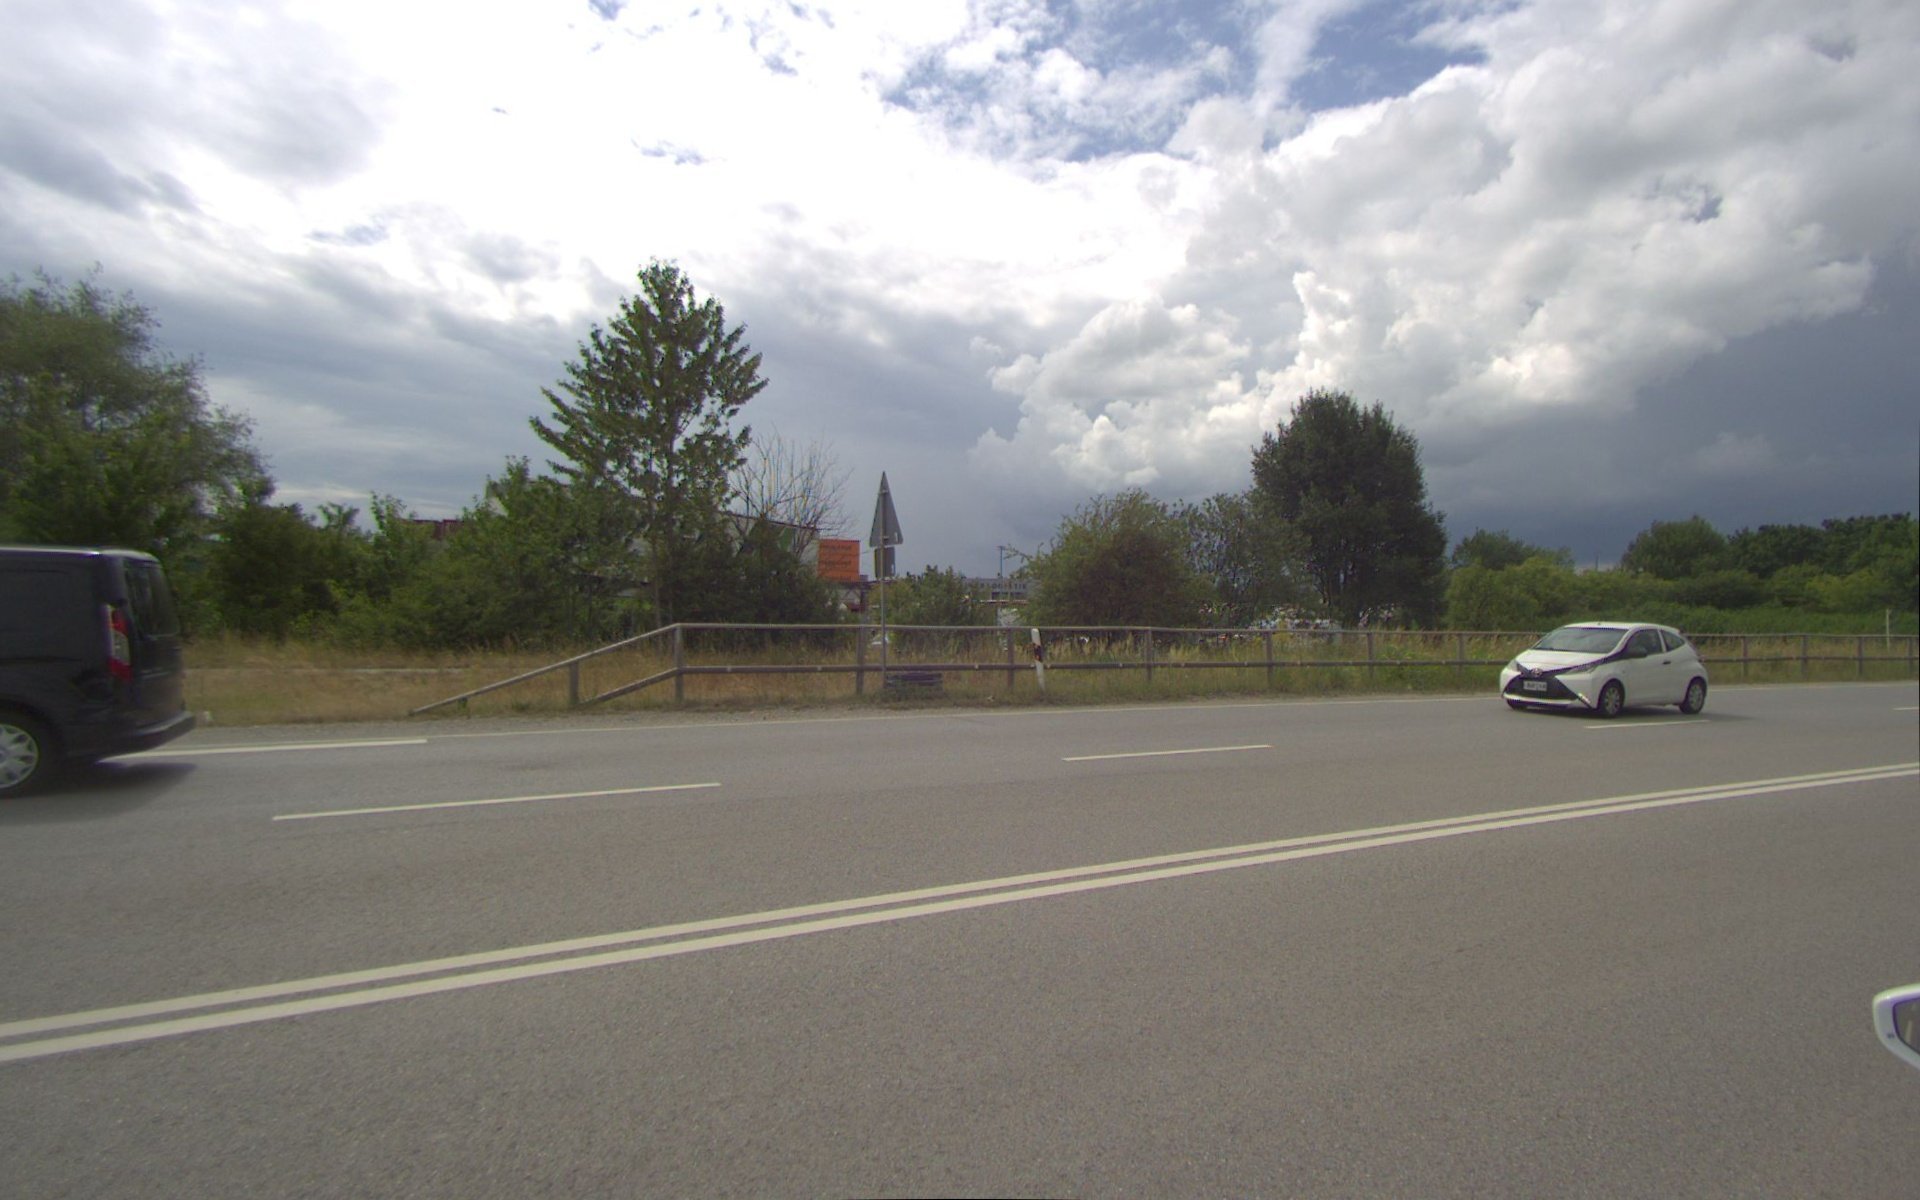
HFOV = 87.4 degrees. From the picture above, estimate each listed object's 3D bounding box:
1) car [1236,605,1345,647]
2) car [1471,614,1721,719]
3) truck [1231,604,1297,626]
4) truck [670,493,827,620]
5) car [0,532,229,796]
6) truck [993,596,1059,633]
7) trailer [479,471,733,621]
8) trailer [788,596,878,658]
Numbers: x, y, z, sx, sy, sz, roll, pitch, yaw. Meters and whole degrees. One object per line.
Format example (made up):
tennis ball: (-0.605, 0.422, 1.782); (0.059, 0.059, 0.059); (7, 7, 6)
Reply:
car: (15.614, 1.201, 47.644); (1.986, 1.758, 4.526); (1, 1, -43)
car: (10.452, 1.016, 16.502); (3.696, 1.509, 1.869); (1, 0, -27)
truck: (30.054, 1.474, 99.348); (6.131, 2.040, 1.993); (2, 0, -17)
truck: (-9.001, -1.709, 43.276); (2.763, 5.063, 6.159); (2, 0, 41)
car: (-8.108, 0.420, 7.273); (4.265, 1.821, 1.986); (1, 0, -28)
truck: (5.200, 1.126, 77.749); (2.604, 2.718, 6.646); (1, 0, 28)
trailer: (-13.216, -1.793, 38.359); (2.766, 5.063, 8.939); (2, 0, 41)
trailer: (-9.457, 1.977, 76.097); (2.157, 4.350, 9.371); (1, 0, 24)
